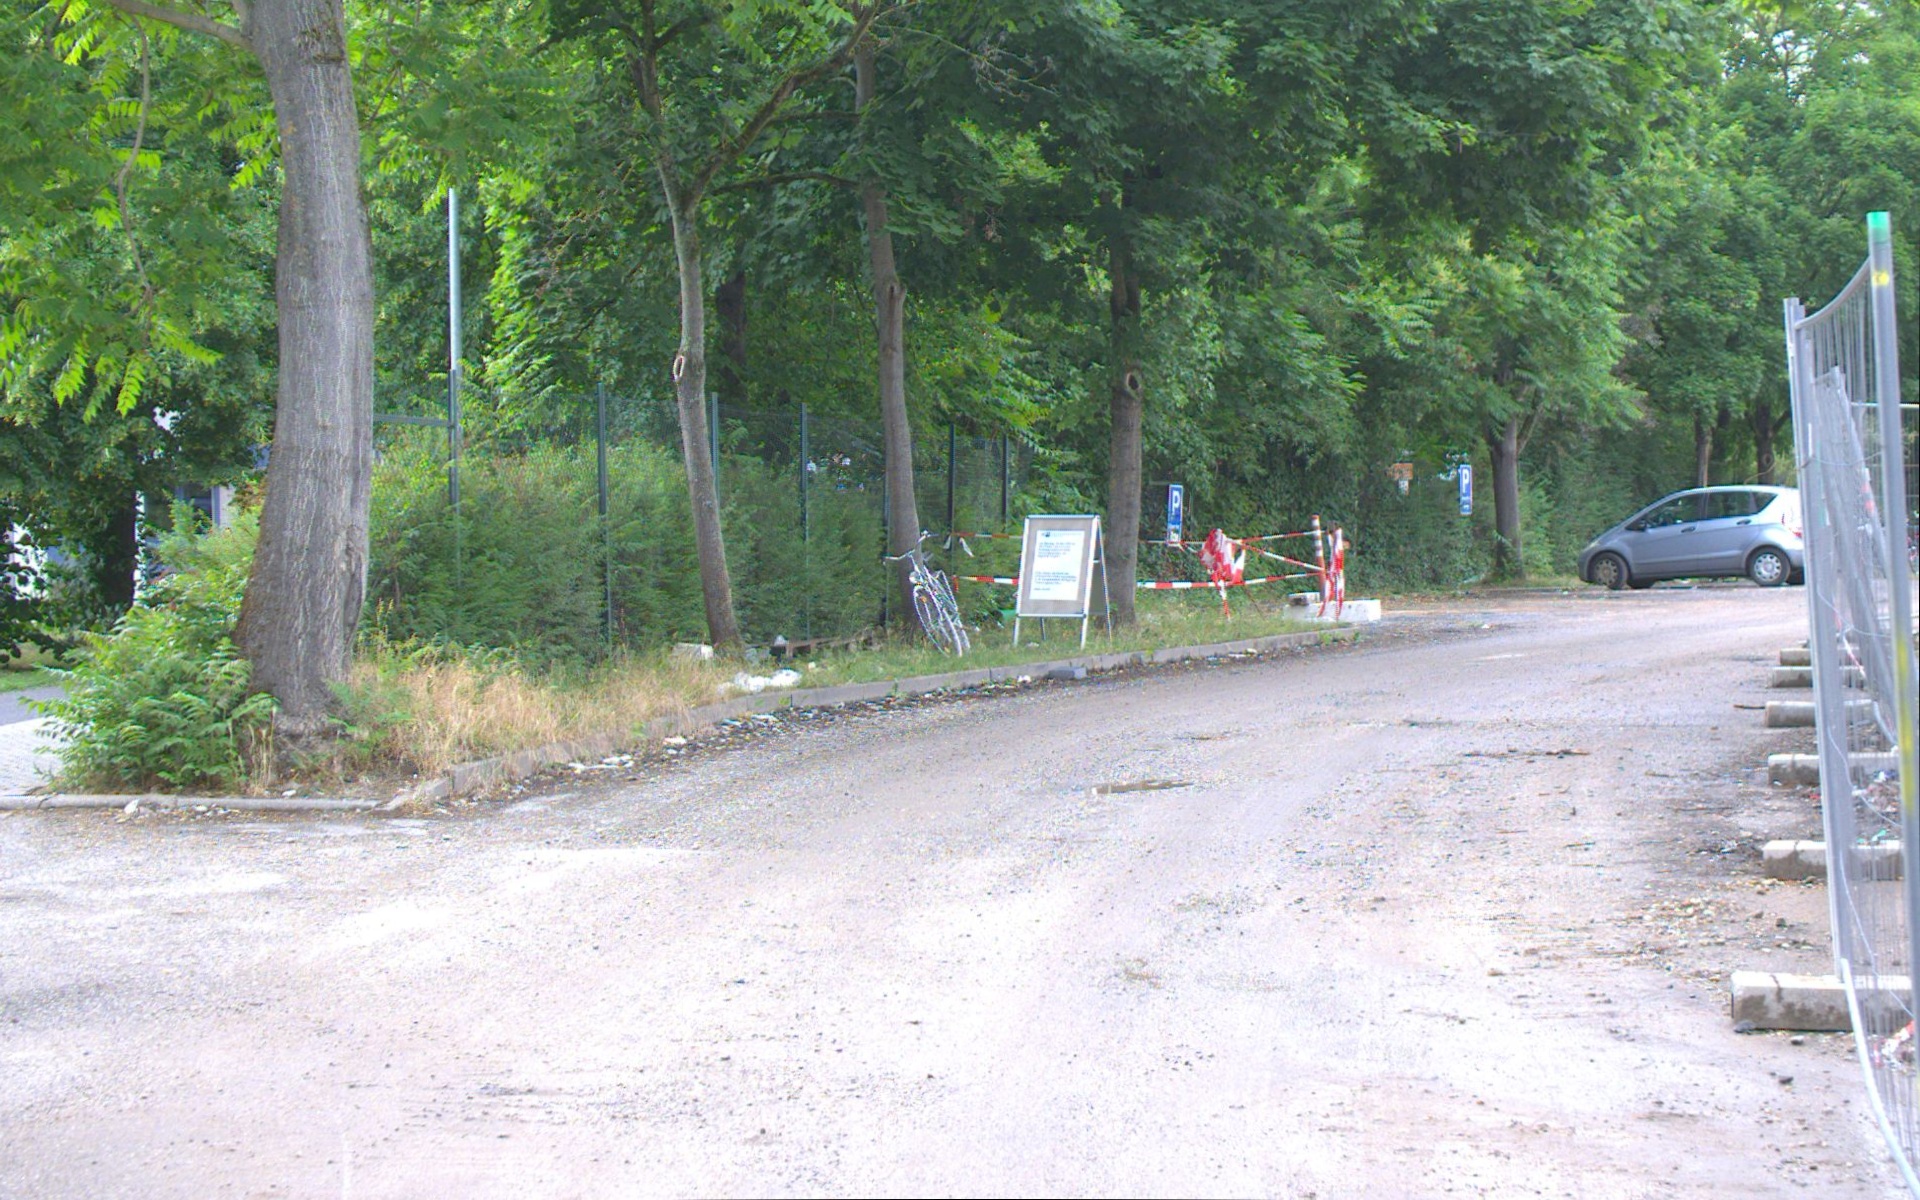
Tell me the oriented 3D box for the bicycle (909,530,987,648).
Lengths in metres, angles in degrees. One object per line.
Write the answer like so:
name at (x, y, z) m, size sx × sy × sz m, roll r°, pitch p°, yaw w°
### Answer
bicycle at (-0.090, -0.096, 27.425) m, size 0.419 × 0.902 × 1.153 m, roll 0°, pitch 2°, yaw 10°

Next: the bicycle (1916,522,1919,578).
bicycle at (17.822, -0.922, 62.601) m, size 0.771 × 0.974 × 2.030 m, roll 0°, pitch 2°, yaw 15°

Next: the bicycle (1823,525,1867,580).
bicycle at (16.217, -0.881, 63.000) m, size 0.771 × 0.974 × 2.030 m, roll 0°, pitch 2°, yaw 15°

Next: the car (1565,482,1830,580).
car at (11.661, -1.085, 54.386) m, size 3.705 × 1.495 × 1.865 m, roll 0°, pitch 2°, yaw 29°
